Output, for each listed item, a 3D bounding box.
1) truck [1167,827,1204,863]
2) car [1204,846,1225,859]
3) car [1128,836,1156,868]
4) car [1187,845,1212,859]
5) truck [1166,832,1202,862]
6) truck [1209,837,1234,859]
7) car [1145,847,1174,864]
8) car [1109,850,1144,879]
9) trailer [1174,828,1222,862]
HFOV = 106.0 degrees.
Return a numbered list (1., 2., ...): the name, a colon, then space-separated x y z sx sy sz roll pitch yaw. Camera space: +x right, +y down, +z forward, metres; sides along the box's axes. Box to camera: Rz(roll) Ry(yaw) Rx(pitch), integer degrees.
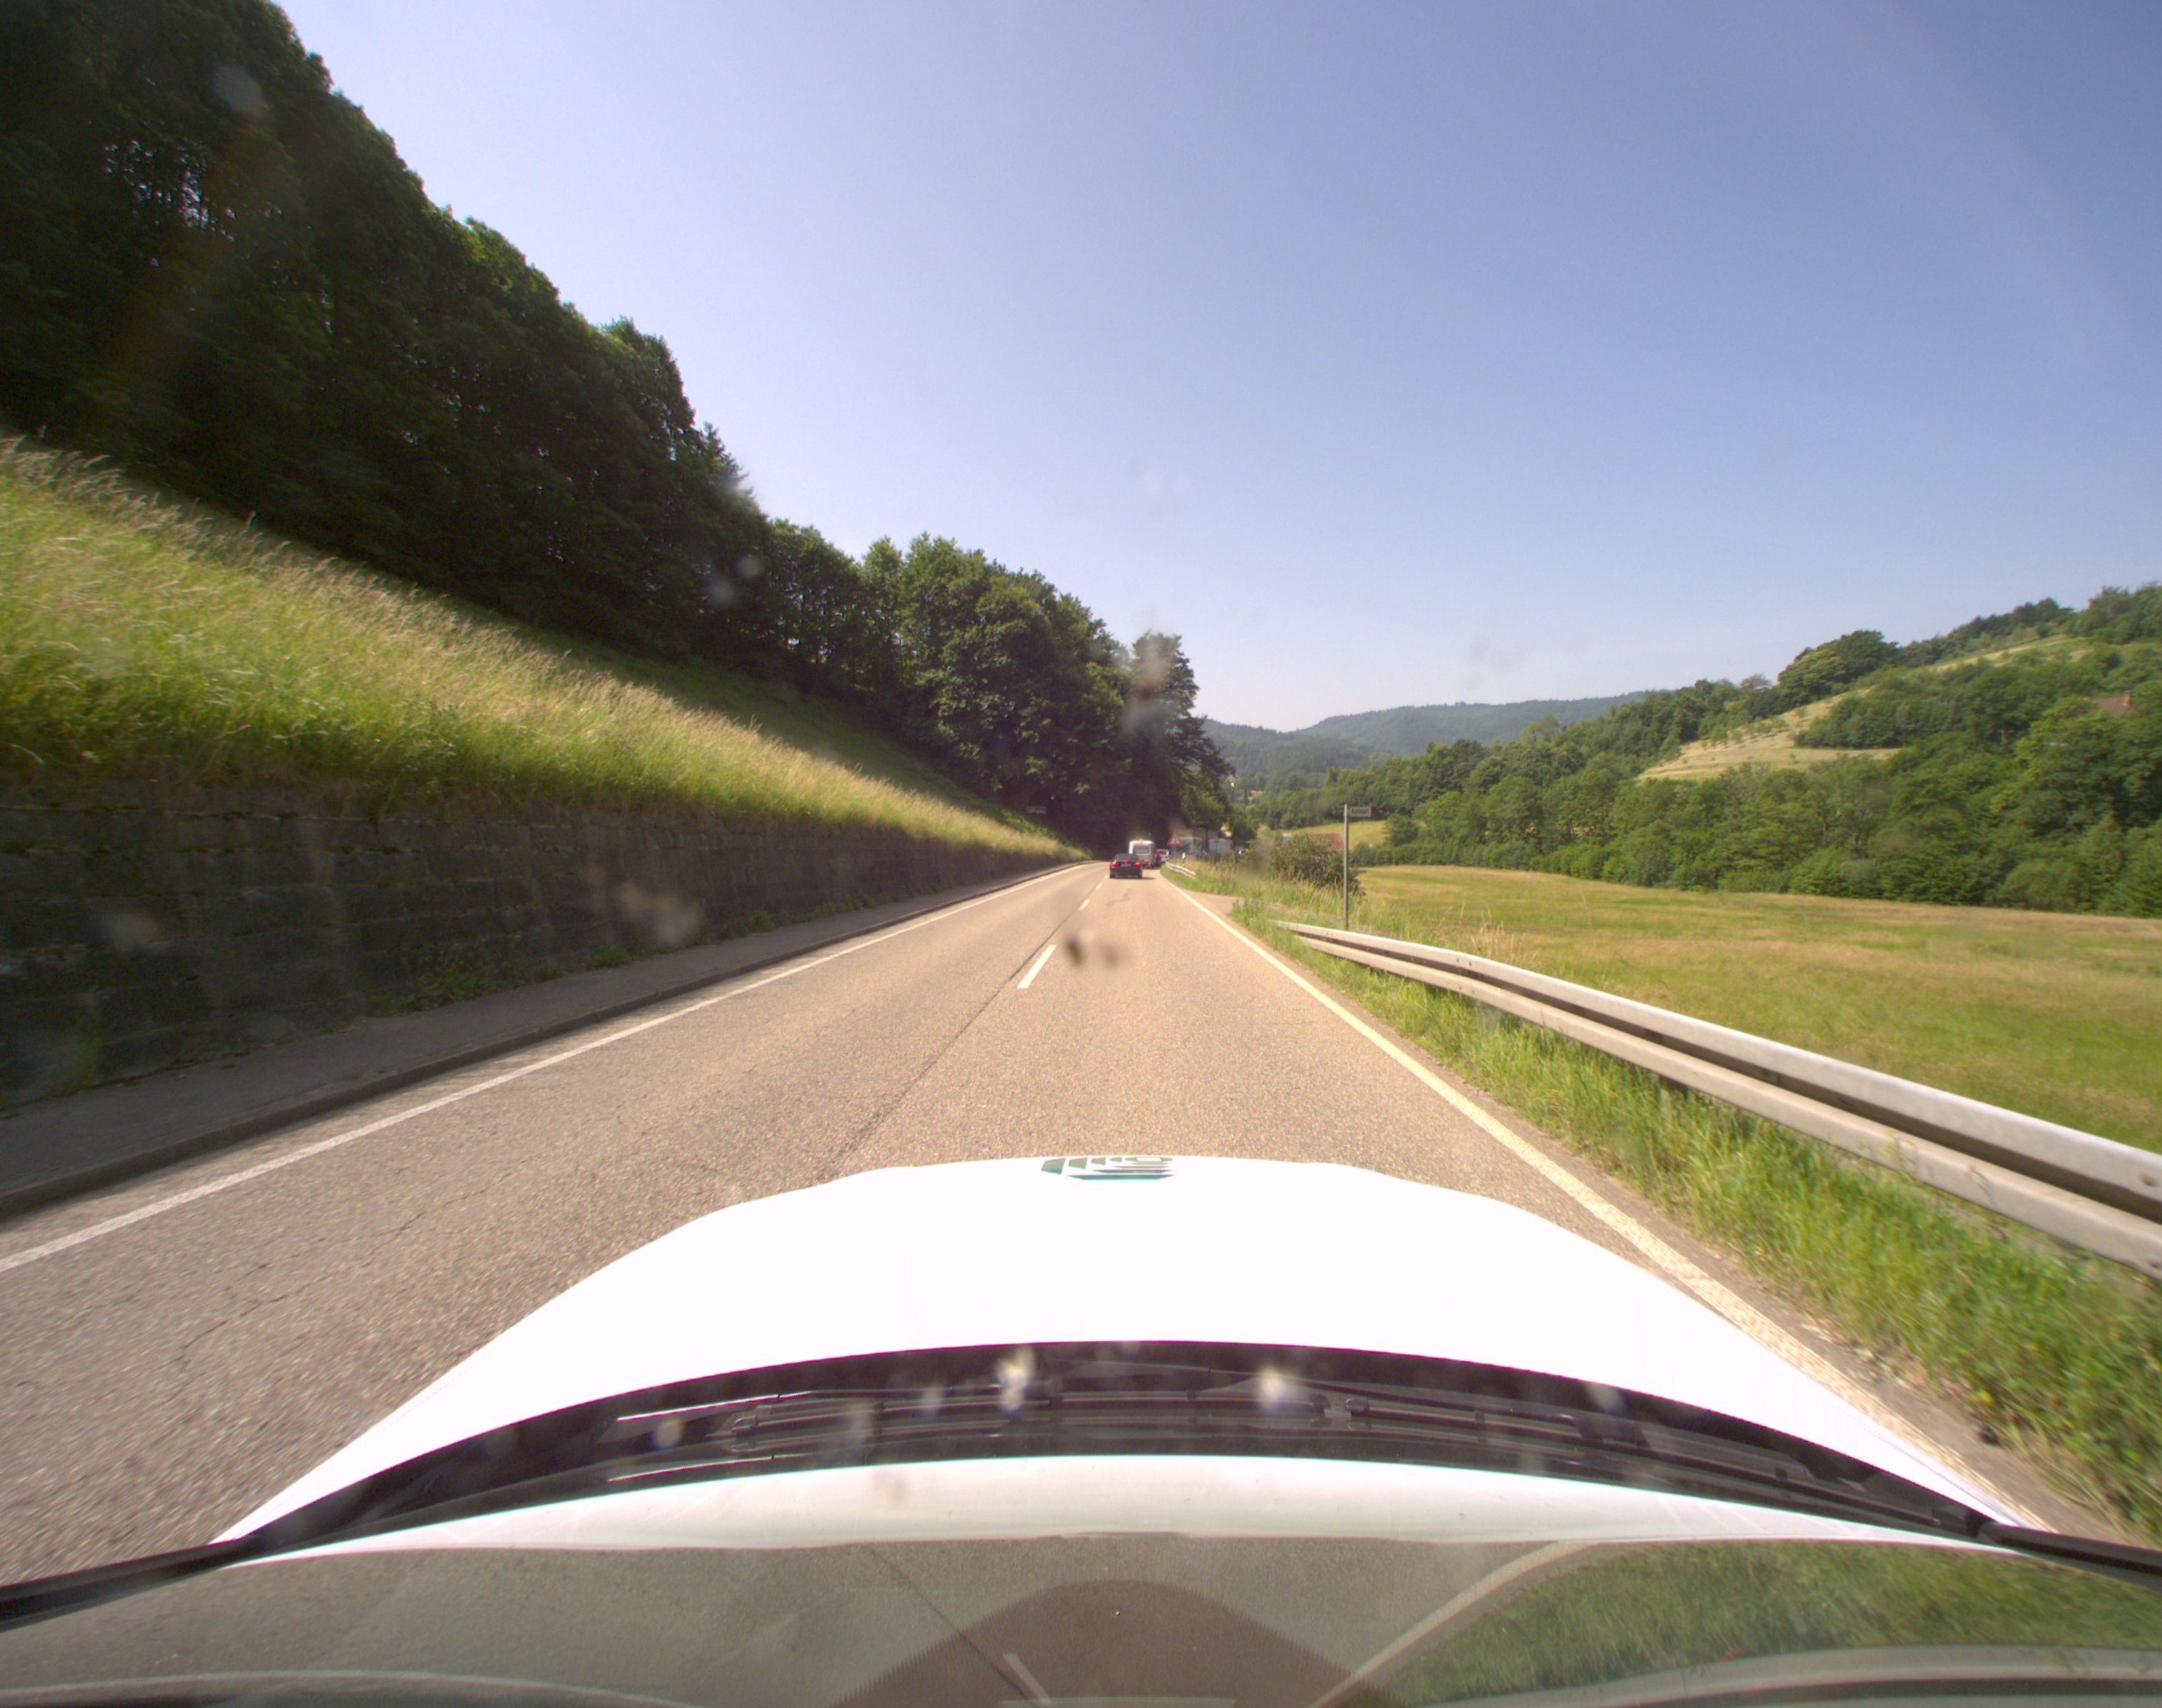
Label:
1. truck: 13.832 -1.206 107.169 3.161 4.396 6.606 2 2 21
2. car: 17.135 -0.221 104.335 1.772 1.463 4.022 3 2 22
3. car: 4.938 -0.215 65.167 1.983 2.352 4.924 1 2 7
4. car: 14.217 -0.253 97.470 1.977 1.463 4.021 3 2 21
5. truck: 11.362 -0.787 89.435 2.770 2.997 6.896 3 2 15
6. truck: 19.210 -0.778 110.919 2.219 2.804 6.262 2 0 20
7. car: 7.519 0.135 77.330 1.979 1.484 4.017 3 1 15
8. car: 2.475 0.531 44.203 1.763 1.335 3.771 1 2 3
9. trailer: 16.682 -1.282 114.688 3.232 4.417 15.396 2 1 21
